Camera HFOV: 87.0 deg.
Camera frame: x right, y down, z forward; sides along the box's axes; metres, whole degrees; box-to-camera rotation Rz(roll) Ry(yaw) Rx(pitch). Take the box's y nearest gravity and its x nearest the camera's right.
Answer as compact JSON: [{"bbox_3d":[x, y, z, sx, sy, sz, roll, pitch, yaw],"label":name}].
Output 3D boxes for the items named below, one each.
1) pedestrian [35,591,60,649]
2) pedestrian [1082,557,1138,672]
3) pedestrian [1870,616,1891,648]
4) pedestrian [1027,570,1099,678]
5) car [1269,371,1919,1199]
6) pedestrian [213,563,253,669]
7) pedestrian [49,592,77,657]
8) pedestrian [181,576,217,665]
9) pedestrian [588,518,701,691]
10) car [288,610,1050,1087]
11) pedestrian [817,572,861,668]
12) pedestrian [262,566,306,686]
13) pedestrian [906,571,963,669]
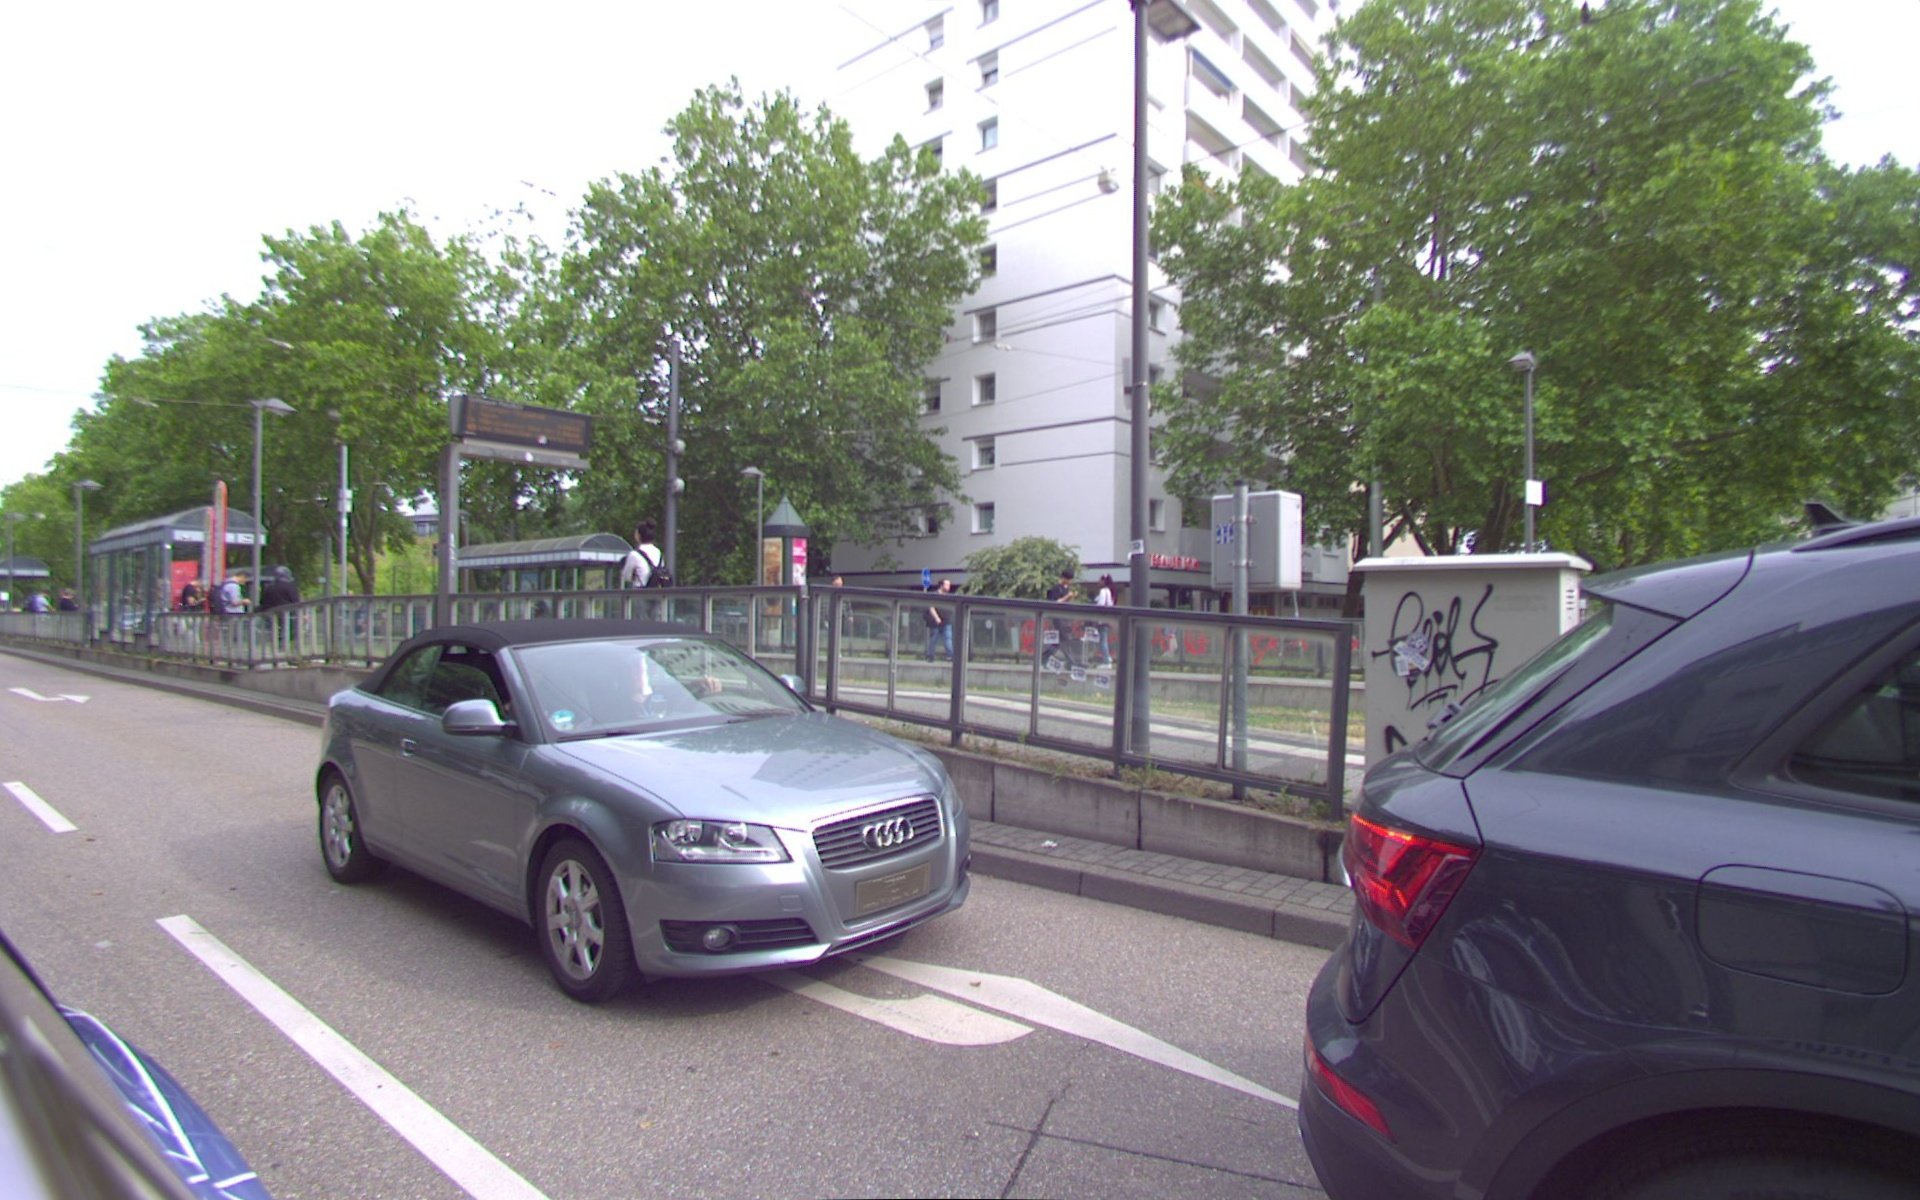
[{"bbox_3d":[-29.038,0.629,32.212,0.523,1.818,0.607,-1,0,-35],"label":"pedestrian"},{"bbox_3d":[2.655,0.246,17.879,0.666,1.965,0.728,-1,0,41],"label":"pedestrian"},{"bbox_3d":[58.774,2.058,64.635,0.666,2.029,0.670,-1,0,2],"label":"pedestrian"},{"bbox_3d":[1.743,0.393,17.108,0.850,1.769,0.871,-1,0,41],"label":"pedestrian"},{"bbox_3d":[2.683,0.532,0.994,4.225,1.649,1.715,-1,0,41],"label":"car"},{"bbox_3d":[-12.709,0.270,17.694,0.605,1.818,0.469,-1,0,45],"label":"pedestrian"},{"bbox_3d":[-25.570,0.698,28.849,0.523,1.818,0.607,-1,0,-35],"label":"pedestrian"},{"bbox_3d":[-15.928,0.423,21.187,0.467,1.818,0.607,-1,0,-24],"label":"pedestrian"},{"bbox_3d":[-3.253,0.043,10.419,0.979,1.683,0.711,-1,0,44],"label":"pedestrian"},{"bbox_3d":[-1.712,0.768,5.020,4.097,1.398,1.694,-1,0,41],"label":"car"},{"bbox_3d":[-2.504,0.400,21.008,0.553,1.945,0.690,-1,0,41],"label":"pedestrian"},{"bbox_3d":[-10.533,0.392,15.766,0.513,1.818,0.606,-1,0,-37],"label":"pedestrian"},{"bbox_3d":[-0.494,0.370,19.571,0.666,1.848,0.871,-1,0,41],"label":"pedestrian"}]
